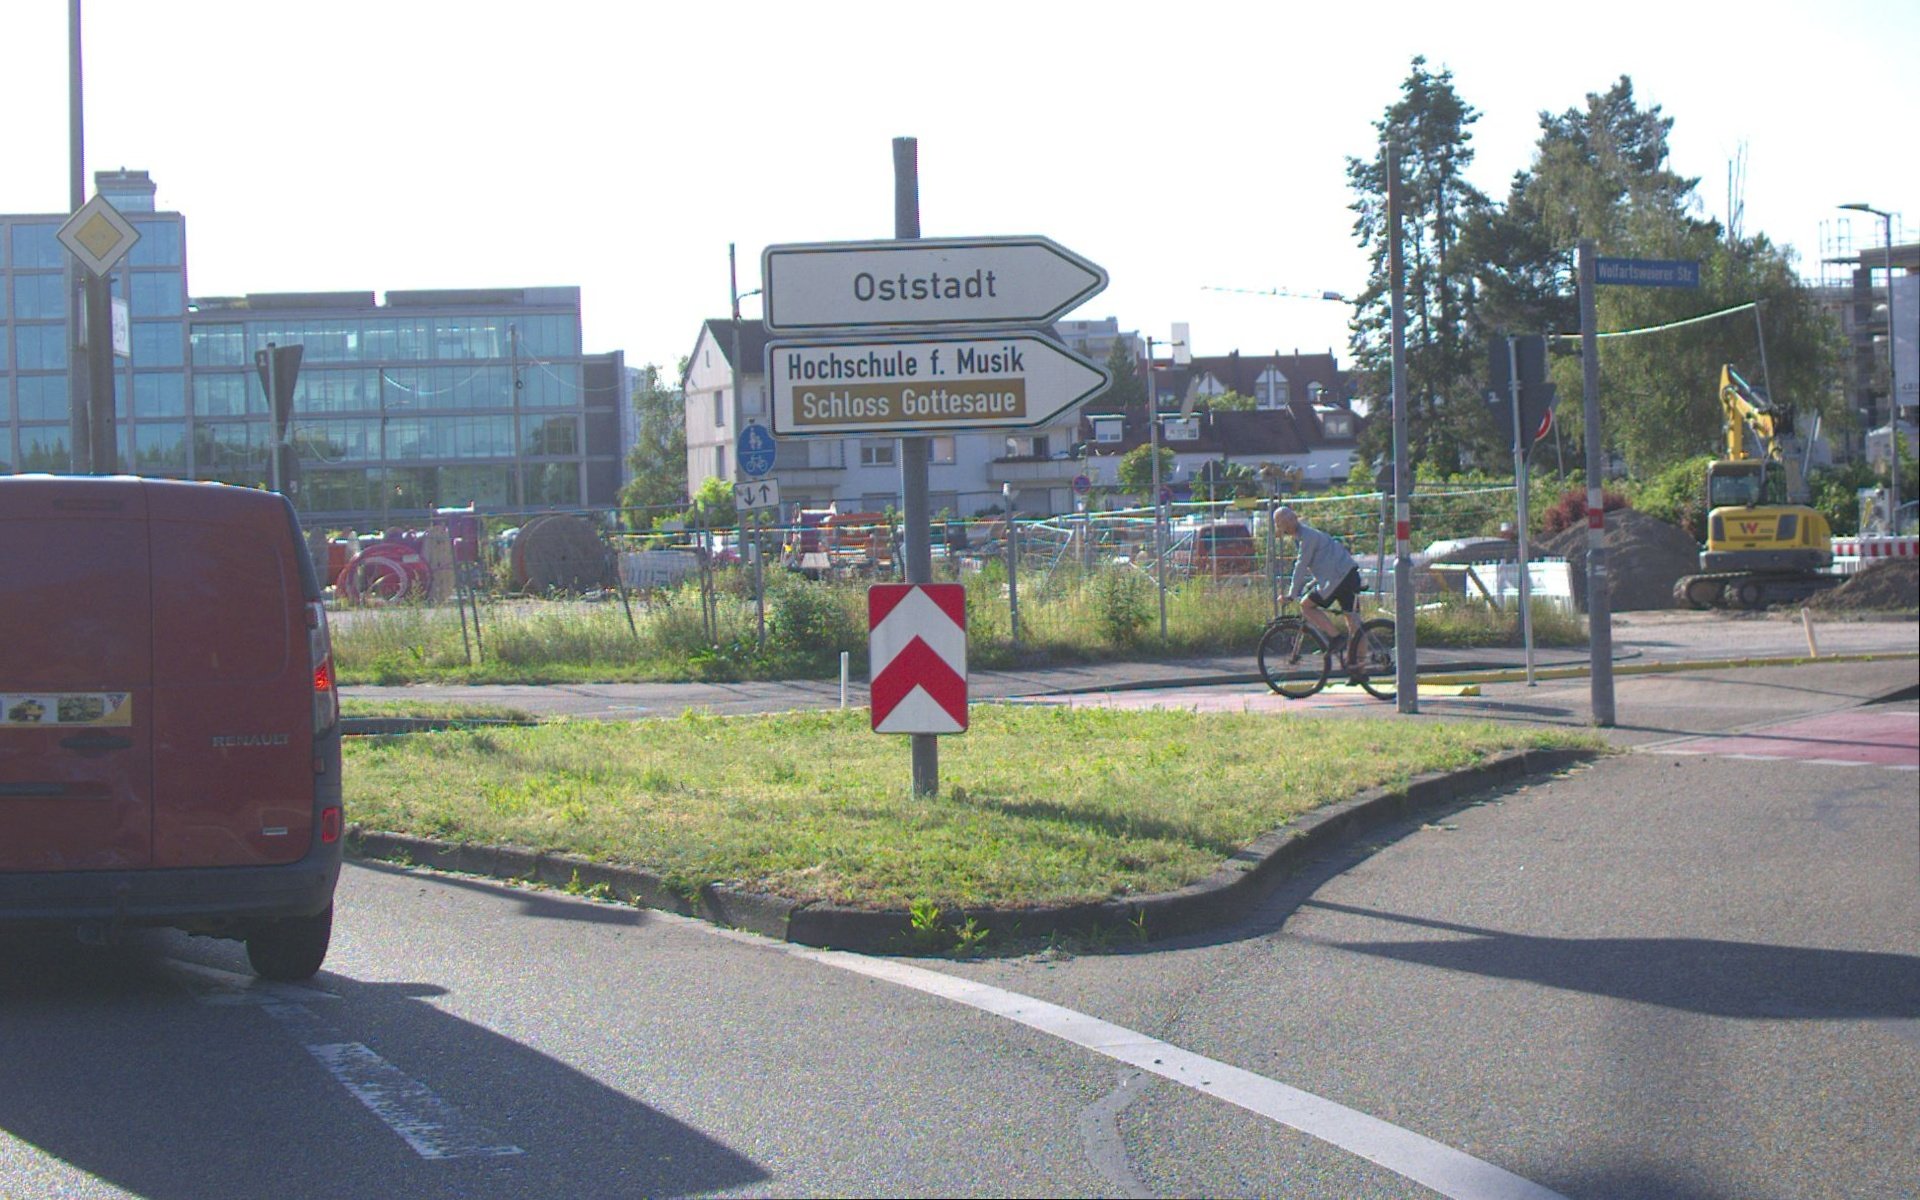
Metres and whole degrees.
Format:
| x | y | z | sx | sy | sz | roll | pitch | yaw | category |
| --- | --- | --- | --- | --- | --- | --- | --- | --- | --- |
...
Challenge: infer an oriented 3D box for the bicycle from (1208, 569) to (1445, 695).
| x | y | z | sx | sy | sz | roll | pitch | yaw | category |
| --- | --- | --- | --- | --- | --- | --- | --- | --- | --- |
| 3.236 | 0.267 | 30.490 | 2.009 | 1.024 | 0.741 | 1 | 5 | 43 | bicycle |

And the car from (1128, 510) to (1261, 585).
| x | y | z | sx | sy | sz | roll | pitch | yaw | category |
| --- | --- | --- | --- | --- | --- | --- | --- | --- | --- |
| 6.386 | -1.458 | 94.133 | 1.993 | 2.007 | 4.500 | 0 | 1 | -19 | car |

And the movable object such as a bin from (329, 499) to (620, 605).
| x | y | z | sx | sy | sz | roll | pitch | yaw | category |
| --- | --- | --- | --- | --- | --- | --- | --- | --- | --- |
| -13.778 | -1.388 | 97.423 | 7.904 | 2.773 | 2.944 | -2 | 2 | -12 | movable object such as a bin |

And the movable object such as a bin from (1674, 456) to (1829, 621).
| x | y | z | sx | sy | sz | roll | pitch | yaw | category |
| --- | --- | --- | --- | --- | --- | --- | --- | --- | --- |
| 13.700 | -1.082 | 59.740 | 2.420 | 2.764 | 3.998 | 1 | 1 | 11 | movable object such as a bin |

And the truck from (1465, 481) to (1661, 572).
| x | y | z | sx | sy | sz | roll | pitch | yaw | category |
| --- | --- | --- | --- | --- | --- | --- | --- | --- | --- |
| 13.868 | -1.710 | 79.557 | 2.163 | 2.007 | 6.438 | 0 | 1 | -12 | truck |

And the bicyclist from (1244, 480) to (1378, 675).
| x | y | z | sx | sy | sz | roll | pitch | yaw | category |
| --- | --- | --- | --- | --- | --- | --- | --- | --- | --- |
| 3.116 | -0.209 | 30.537 | 0.853 | 1.674 | 0.741 | 1 | 5 | 43 | bicyclist |

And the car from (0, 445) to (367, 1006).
| x | y | z | sx | sy | sz | roll | pitch | yaw | category |
| --- | --- | --- | --- | --- | --- | --- | --- | --- | --- |
| -3.627 | 0.385 | 12.934 | 1.802 | 1.807 | 3.810 | -1 | 1 | -25 | car |

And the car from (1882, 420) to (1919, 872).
| x | y | z | sx | sy | sz | roll | pitch | yaw | category |
| --- | --- | --- | --- | --- | --- | --- | --- | --- | --- |
| 5.115 | 0.176 | 14.761 | 1.998 | 1.890 | 4.750 | -1 | 1 | 12 | car |

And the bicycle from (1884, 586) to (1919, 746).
| x | y | z | sx | sy | sz | roll | pitch | yaw | category |
| --- | --- | --- | --- | --- | --- | --- | --- | --- | --- |
| 6.915 | 0.435 | 21.999 | 1.822 | 1.024 | 0.659 | 1 | 1 | 38 | bicycle |
